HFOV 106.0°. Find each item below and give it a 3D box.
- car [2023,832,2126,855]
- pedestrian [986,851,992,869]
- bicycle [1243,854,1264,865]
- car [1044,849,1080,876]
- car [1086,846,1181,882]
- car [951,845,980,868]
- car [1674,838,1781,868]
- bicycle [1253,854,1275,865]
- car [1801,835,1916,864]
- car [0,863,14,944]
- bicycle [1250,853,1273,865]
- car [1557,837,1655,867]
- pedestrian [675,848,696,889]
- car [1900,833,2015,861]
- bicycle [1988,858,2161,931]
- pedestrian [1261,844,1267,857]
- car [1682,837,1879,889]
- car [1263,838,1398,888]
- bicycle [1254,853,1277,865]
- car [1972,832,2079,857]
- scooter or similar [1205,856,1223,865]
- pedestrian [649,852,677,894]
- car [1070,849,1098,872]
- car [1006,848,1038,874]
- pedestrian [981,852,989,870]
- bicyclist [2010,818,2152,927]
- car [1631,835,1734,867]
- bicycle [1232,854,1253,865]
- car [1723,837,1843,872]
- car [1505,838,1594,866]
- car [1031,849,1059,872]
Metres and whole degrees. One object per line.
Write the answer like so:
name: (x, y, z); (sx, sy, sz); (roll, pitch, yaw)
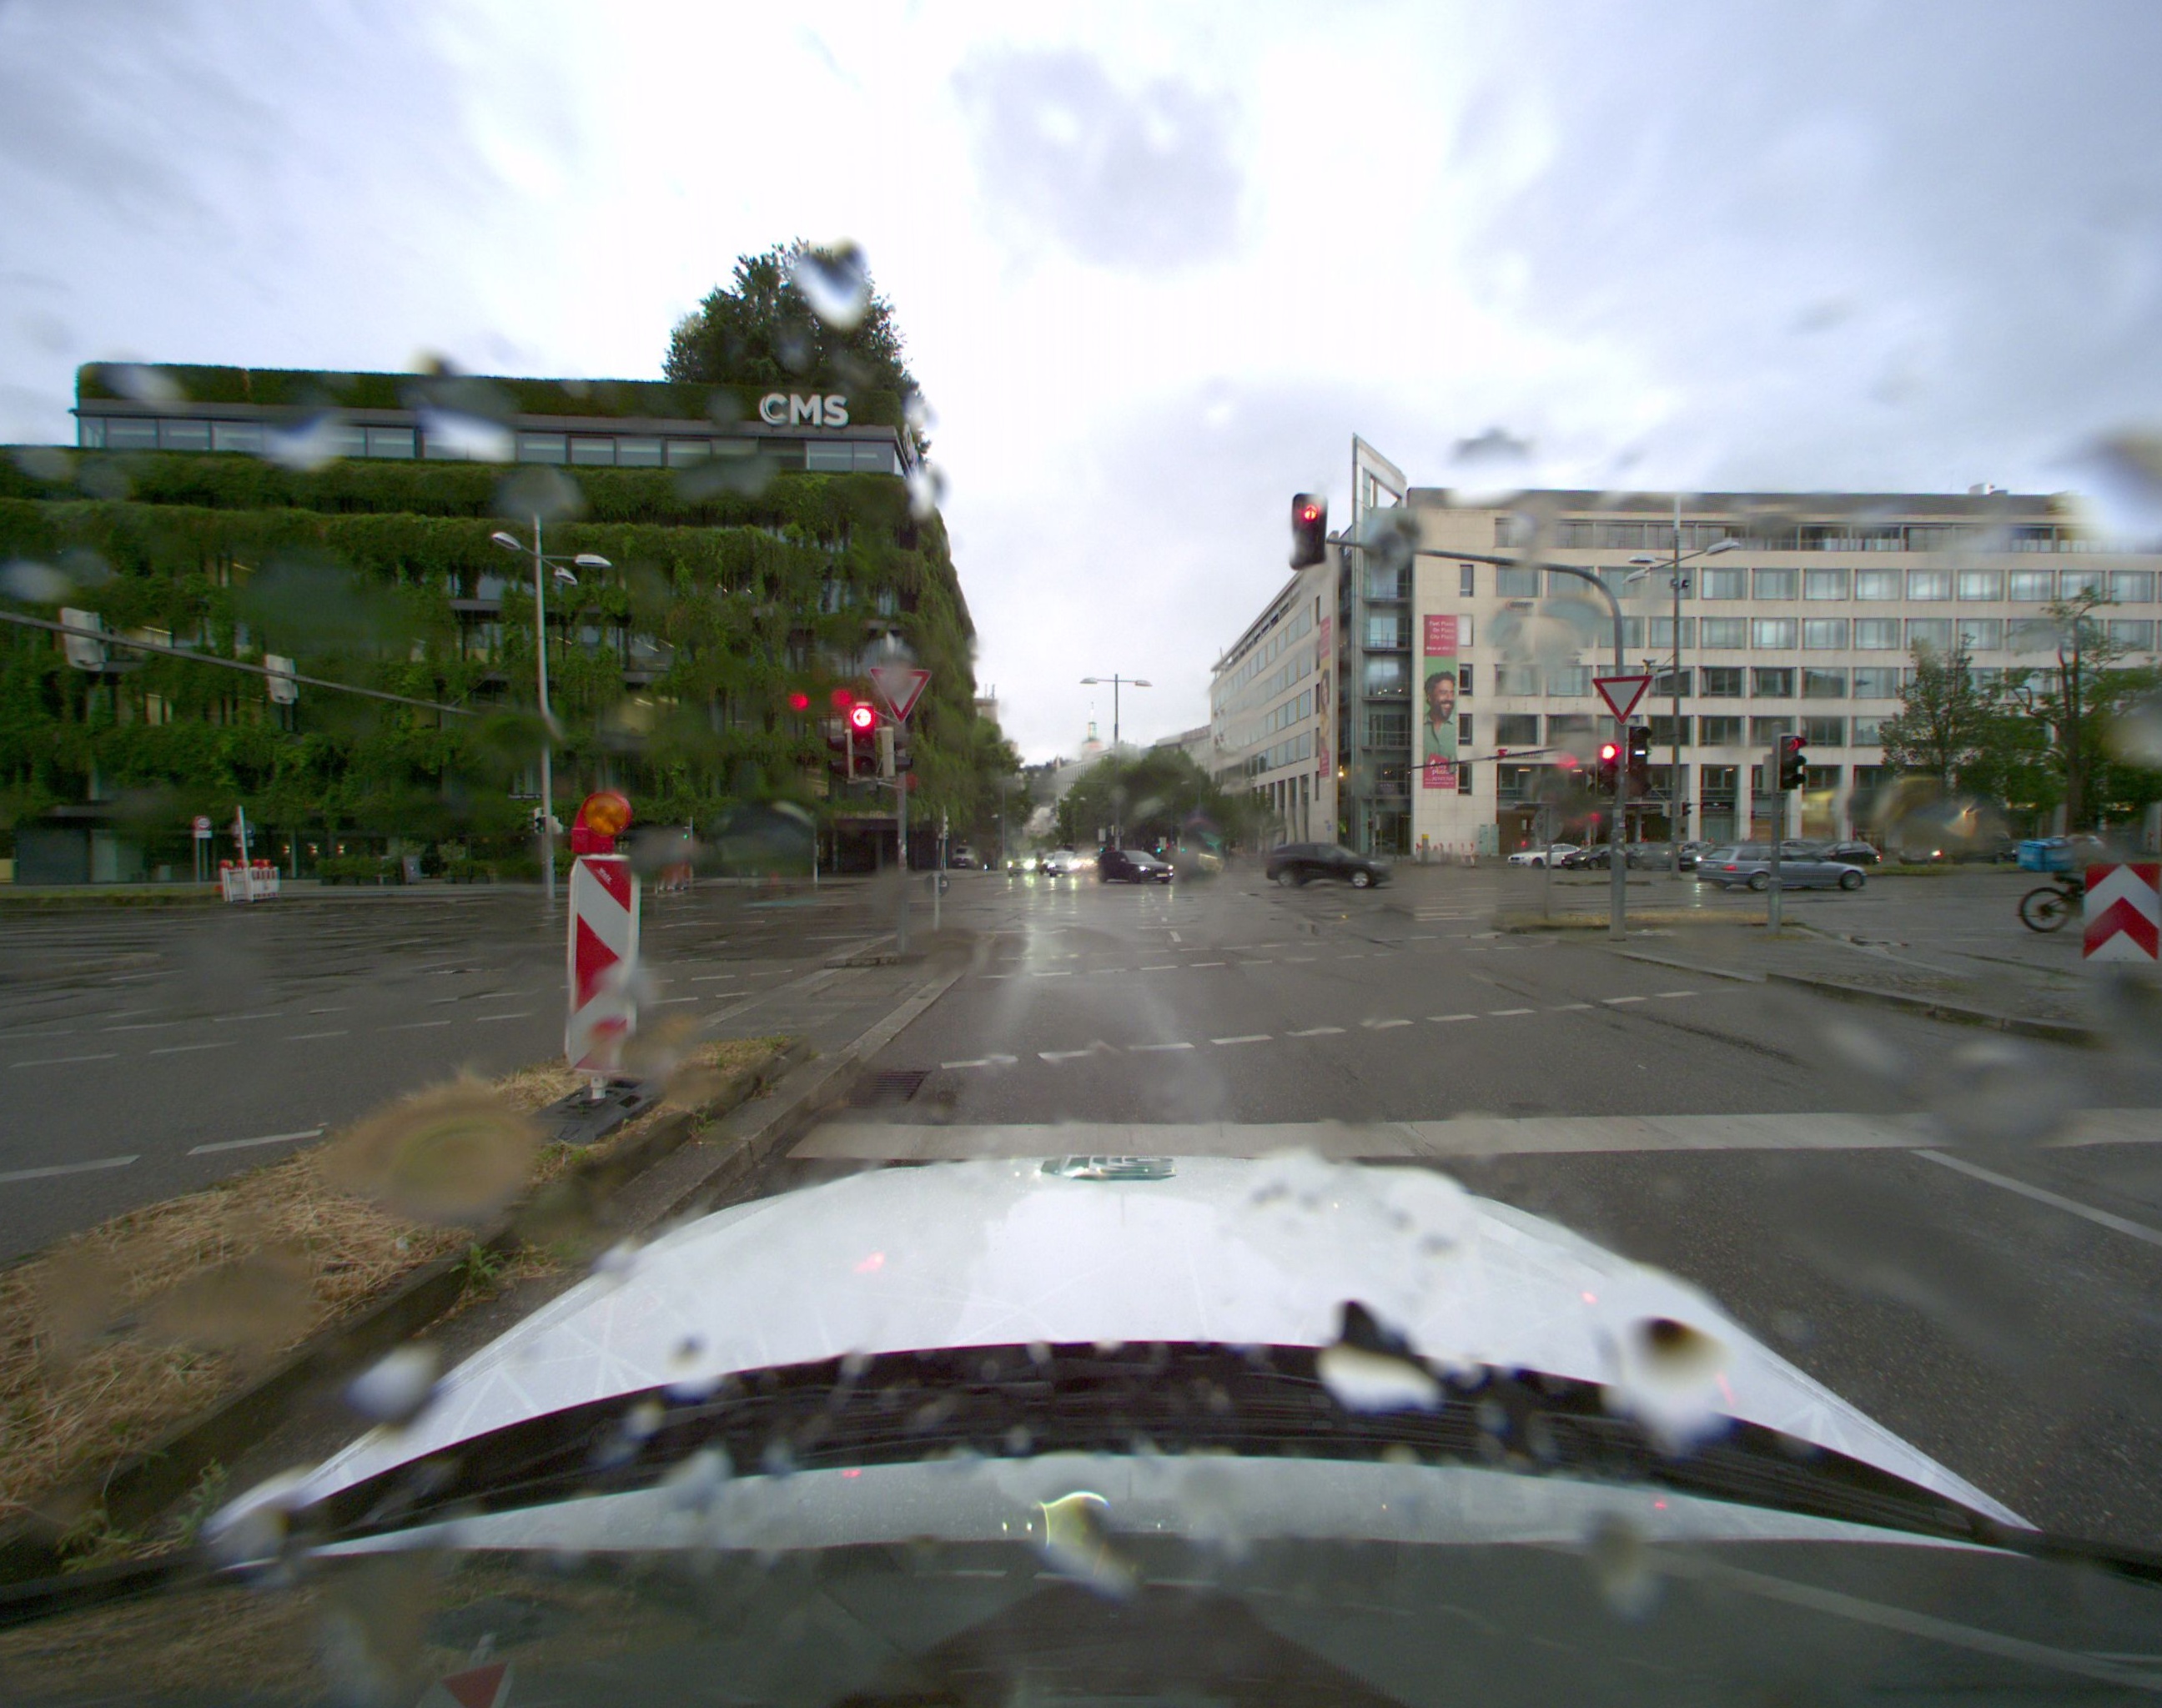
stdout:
car: (62.328, -0.674, 51.124); (4.629, 1.348, 1.923); (-1, 0, -6)
pedestrian: (-7.848, 0.505, 69.521); (0.435, 1.524, 0.547); (-1, 0, -3)
bicycle: (14.967, 0.452, 70.716); (1.786, 0.934, 0.476); (-1, 0, 4)
car: (-1.116, 0.490, 49.615); (1.986, 1.443, 4.557); (-1, 1, 1)
car: (2.244, 0.413, 35.900); (1.869, 1.448, 4.574); (-1, 1, -32)
car: (-9.705, 0.201, 68.720); (1.989, 1.895, 4.461); (-1, 0, -2)
car: (31.398, -0.048, 39.565); (4.455, 1.348, 1.715); (-1, 0, -13)
bicycle: (14.906, 0.445, 66.386); (1.778, 0.934, 0.478); (-1, 0, 43)
car: (39.236, -0.233, 41.141); (4.637, 1.348, 1.919); (-1, 0, -12)
car: (-27.141, 1.197, 18.225); (3.451, 1.922, 1.992); (-1, 0, -11)
bicycle: (14.186, 0.413, 64.049); (1.778, 0.934, 0.478); (-1, 0, 43)
car: (29.208, -0.118, 45.389); (4.451, 1.598, 1.993); (-1, 0, -10)
pedestrian: (-17.333, 0.623, 35.718); (0.744, 1.758, 0.969); (-1, 0, -22)
car: (45.242, -0.350, 42.070); (4.637, 1.348, 1.919); (-1, 0, -12)
bicycle: (16.298, 0.641, 13.260); (2.139, 1.103, 0.848); (-1, 0, -1)
pedestrian: (17.774, -0.336, 79.096); (0.355, 1.173, 0.410); (-1, -1, -37)
car: (21.934, 0.263, 25.691); (4.430, 1.486, 2.002); (-1, 1, 4)
car: (9.110, 0.314, 29.789); (4.307, 1.655, 1.983); (0, 2, 34)
bicycle: (14.844, 0.405, 65.643); (1.778, 0.934, 0.478); (-1, 0, 43)
car: (54.133, -0.537, 46.704); (4.634, 1.348, 1.921); (-1, 0, -10)
scooter or similar: (13.022, 0.616, 79.727); (1.750, 0.878, 0.486); (-1, 0, -18)
pedestrian: (-18.079, 0.816, 35.254); (0.939, 1.758, 1.163); (-1, 0, -22)
car: (0.179, 0.470, 61.483); (1.987, 1.529, 4.555); (-1, 1, -1)
car: (-3.986, 0.450, 54.598); (1.990, 1.598, 4.457); (-1, 0, -5)
pedestrian: (-8.221, 0.616, 69.528); (0.605, 1.524, 0.587); (-1, 0, -3)
bicyclist: (16.242, 0.288, 13.255); (1.291, 1.704, 0.847); (-1, 0, -2)
car: (31.675, -0.172, 42.912); (4.455, 1.598, 1.991); (-1, 0, -13)
bicycle: (14.399, 0.467, 72.579); (1.786, 0.934, 0.476); (-1, 0, 4)
car: (31.251, 0.007, 36.287); (4.452, 1.464, 1.716); (-1, 0, -11)
car: (27.971, -0.125, 48.689); (4.456, 1.598, 1.991); (-1, 0, -14)
car: (-2.997, 0.498, 67.445); (2.171, 1.823, 4.637); (-1, 0, -4)
